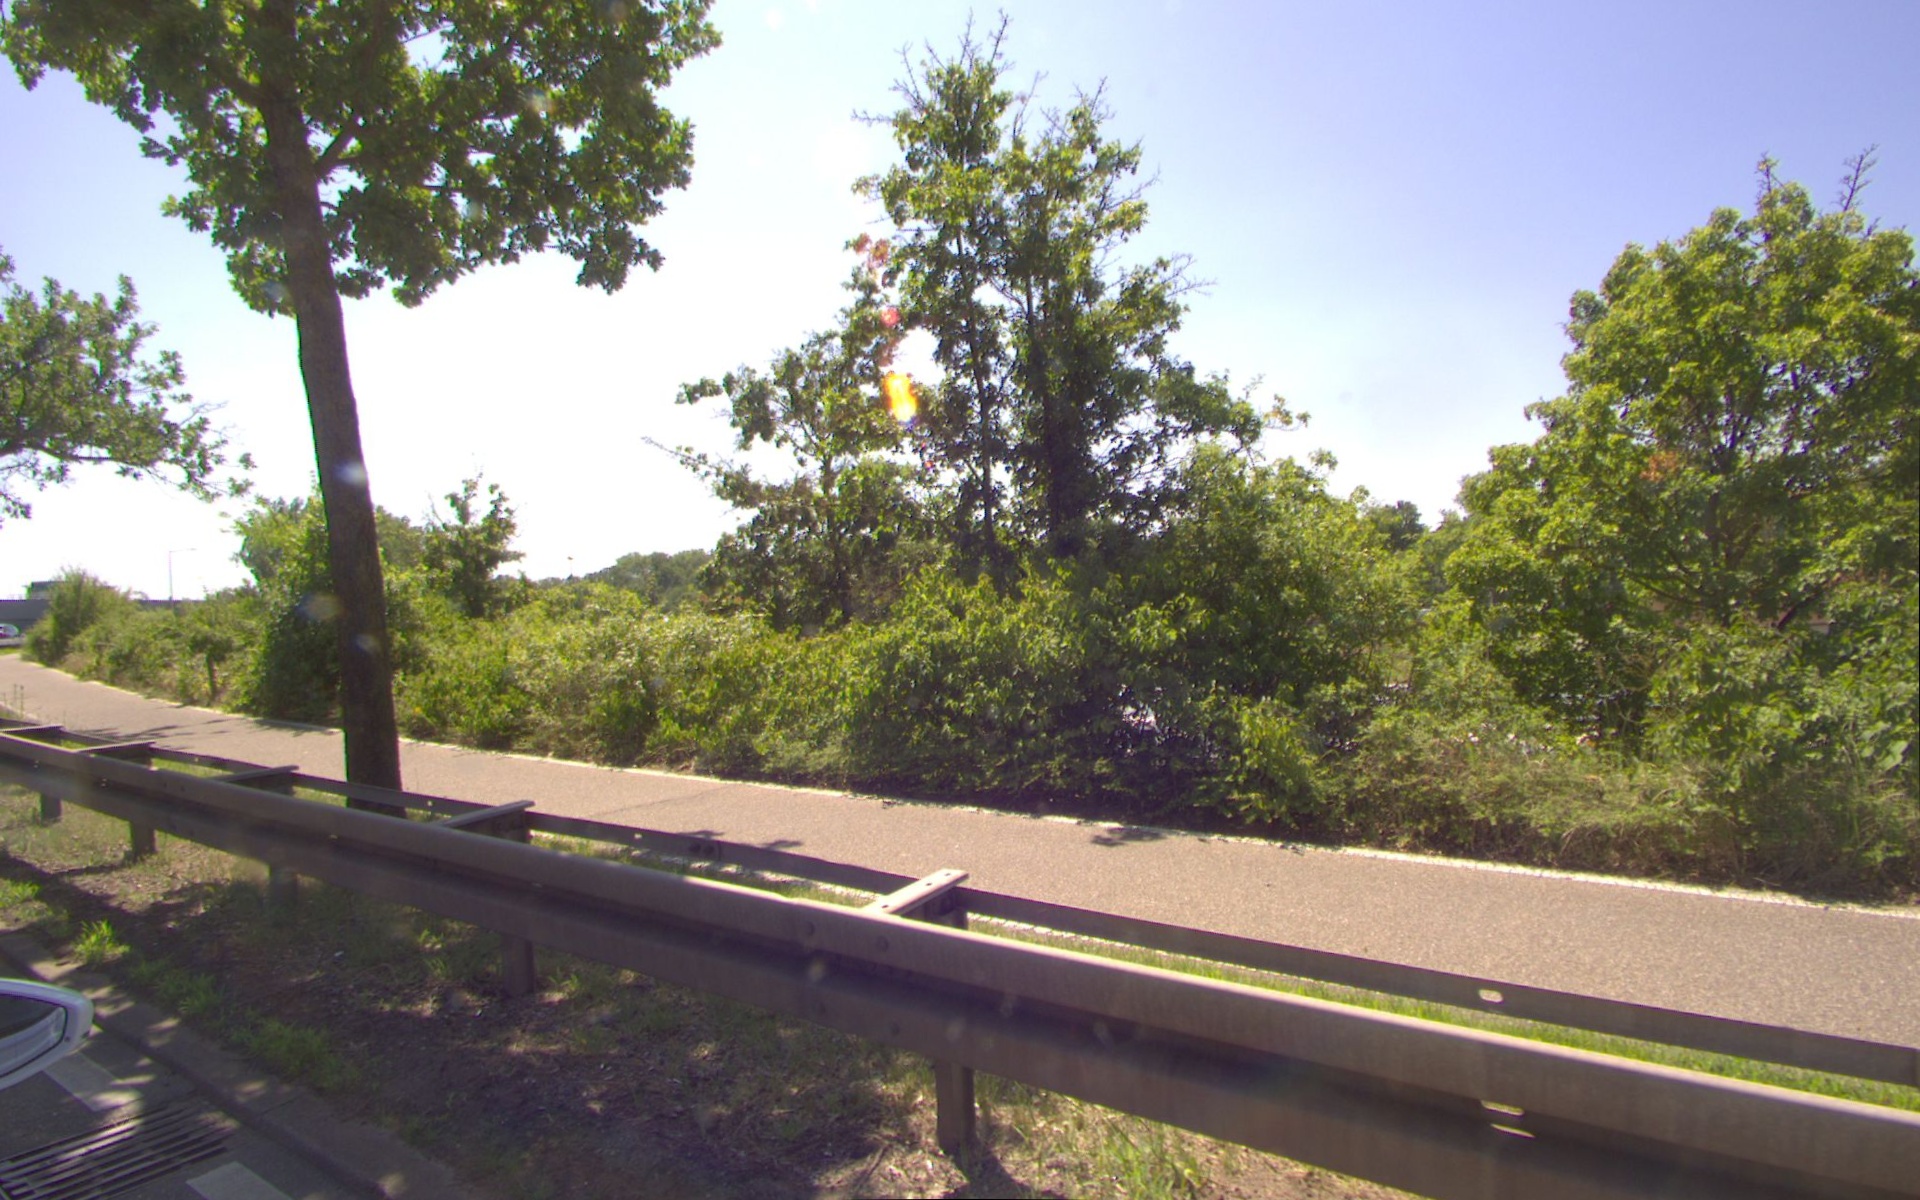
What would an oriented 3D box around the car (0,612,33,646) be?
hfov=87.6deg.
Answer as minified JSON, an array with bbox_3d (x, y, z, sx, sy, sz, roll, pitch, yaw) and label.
[{"bbox_3d":[-50.520,1.513,52.554,1.974,1.739,4.838,1,-2,-34],"label":"car"}]
